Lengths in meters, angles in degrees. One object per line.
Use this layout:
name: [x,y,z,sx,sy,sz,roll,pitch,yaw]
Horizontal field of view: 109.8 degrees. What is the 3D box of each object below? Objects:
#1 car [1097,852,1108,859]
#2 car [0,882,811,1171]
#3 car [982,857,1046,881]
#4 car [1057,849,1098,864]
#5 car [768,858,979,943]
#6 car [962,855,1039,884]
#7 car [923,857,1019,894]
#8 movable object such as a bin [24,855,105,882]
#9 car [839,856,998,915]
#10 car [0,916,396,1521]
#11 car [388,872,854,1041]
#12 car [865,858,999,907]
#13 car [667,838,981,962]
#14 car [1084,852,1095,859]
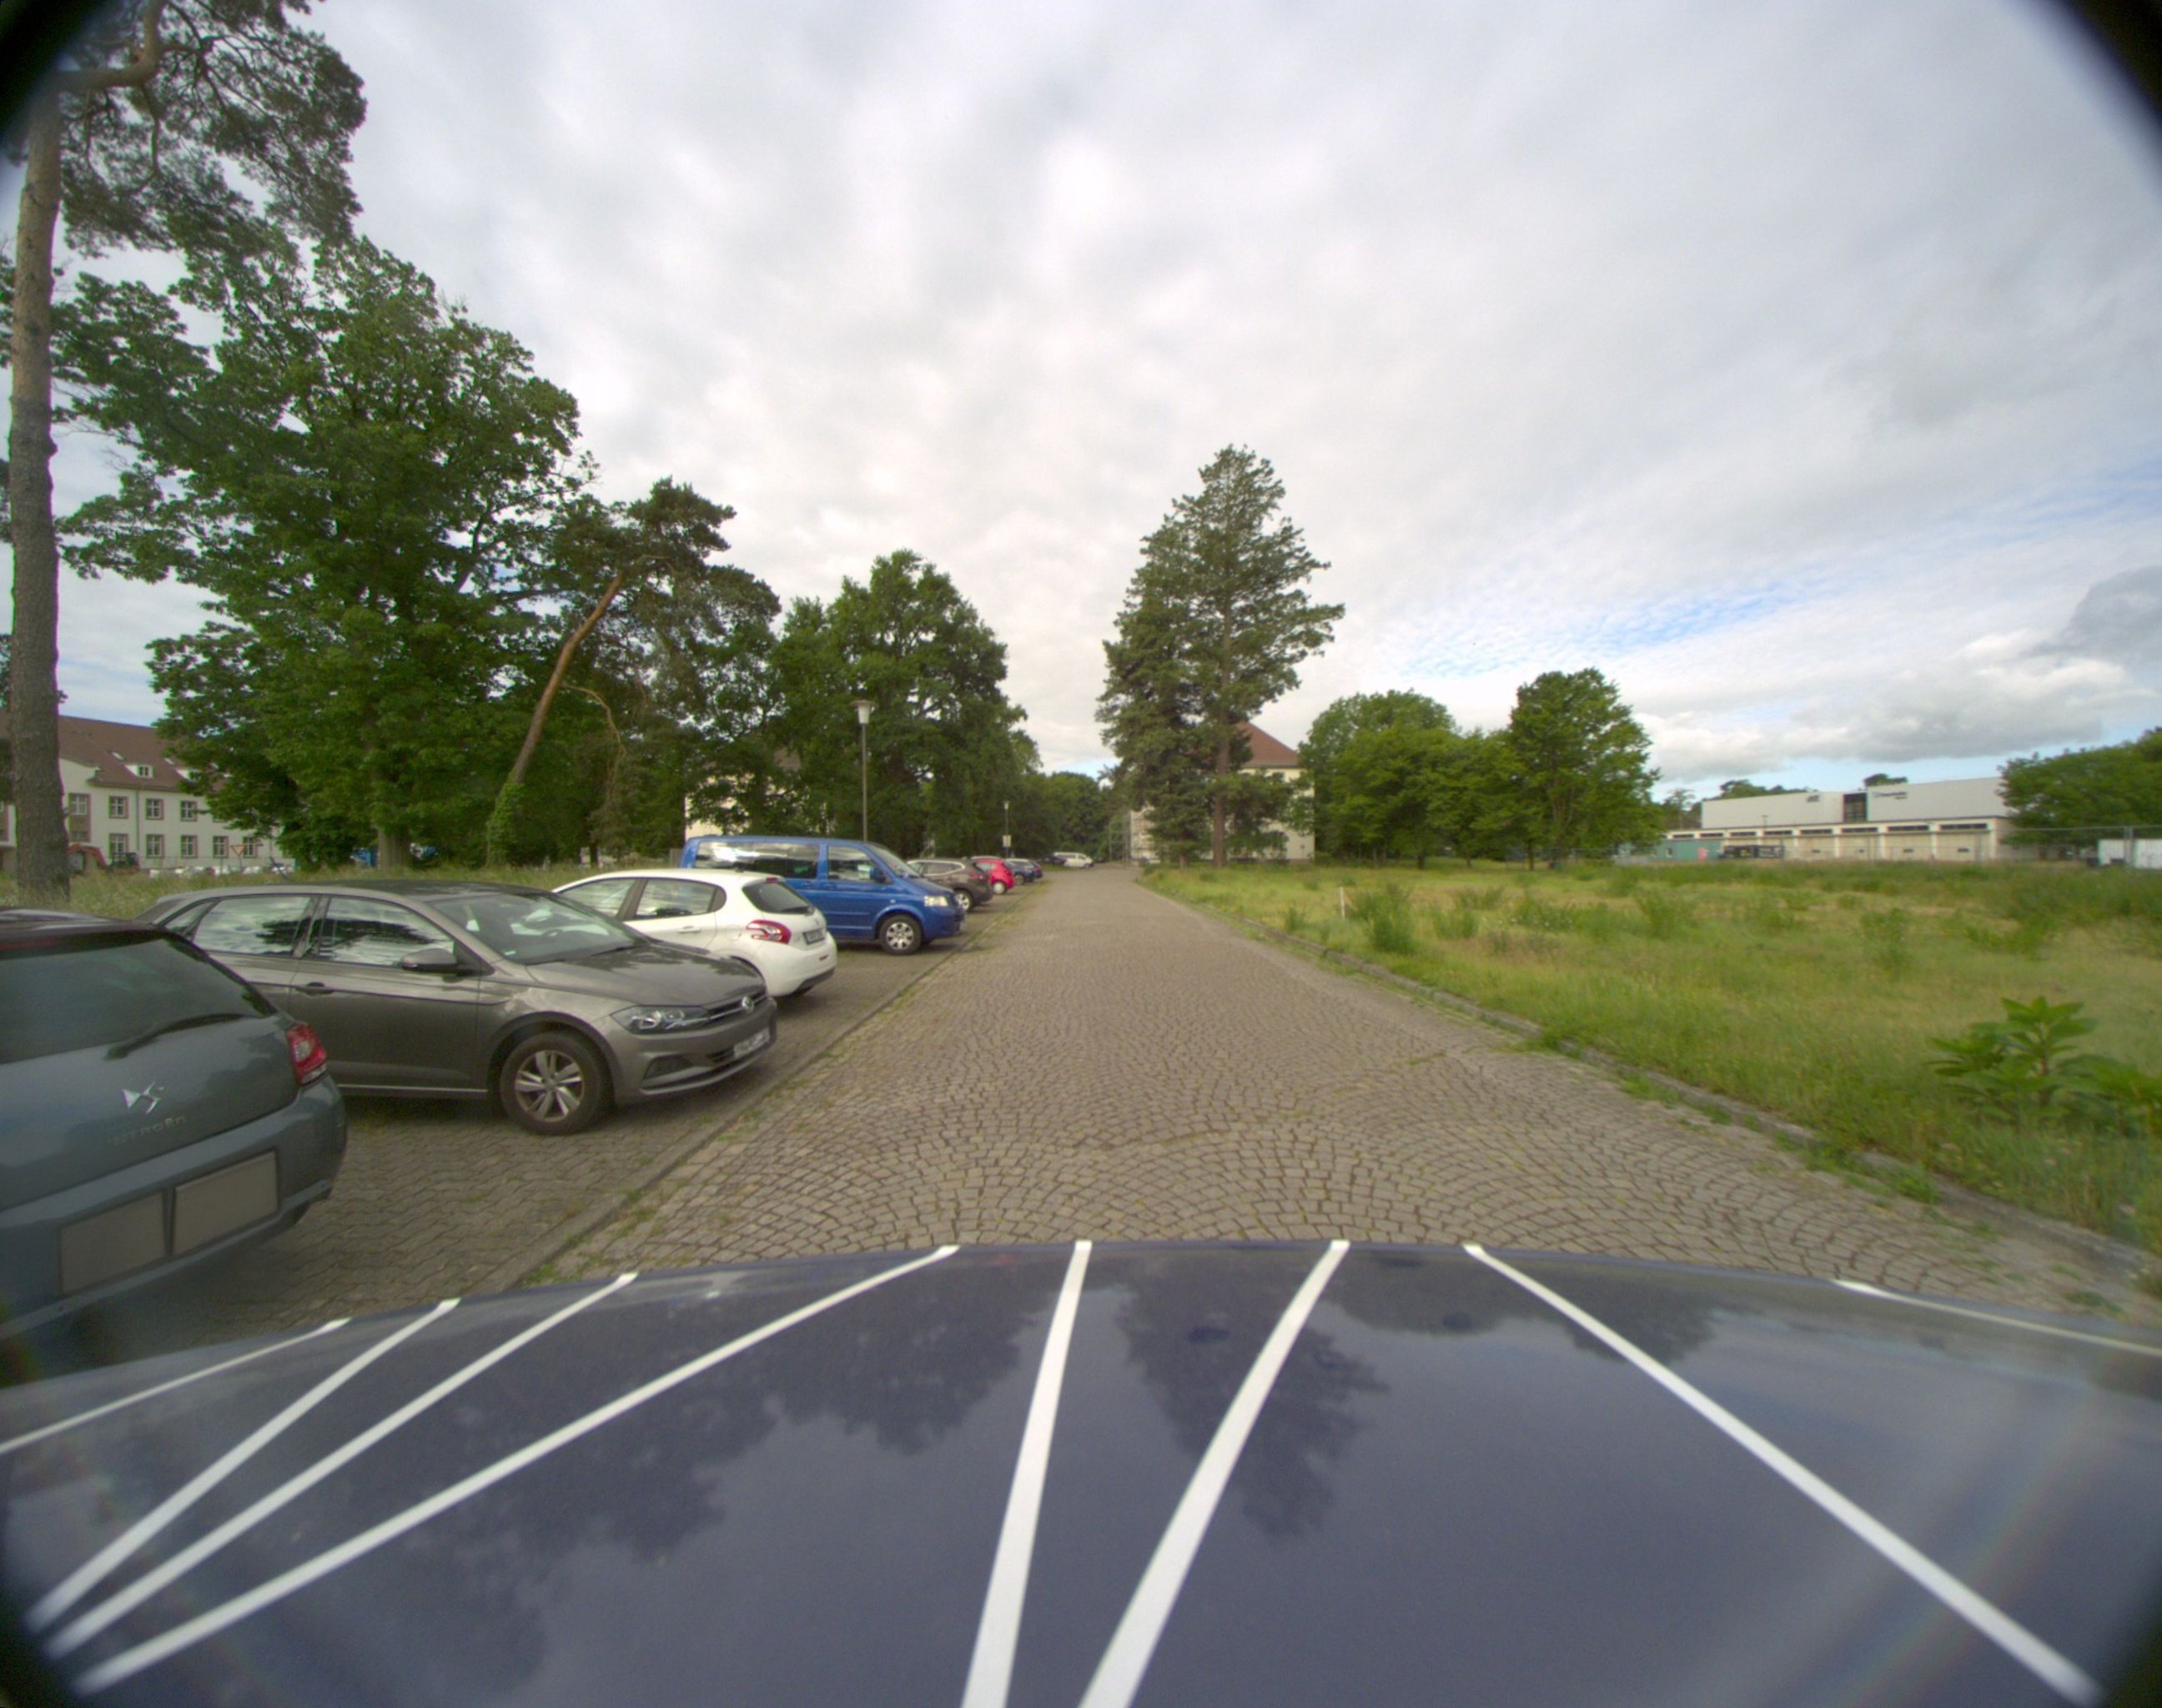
car: [4.695,0.304,163.170,1.870,1.408,4.694,1,0,-4]
car: [-4.074,0.993,5.089,3.872,1.463,1.758,1,0,0]
car: [-4.139,0.907,47.397,3.878,1.417,1.582,1,0,-1]
car: [-0.449,0.318,96.202,5.141,1.860,1.723,1,0,-1]
car: [-4.226,0.920,15.948,3.872,1.463,1.841,3,0,-1]
car: [-4.489,0.846,42.736,4.150,1.529,1.582,1,0,-1]
car: [-4.643,0.902,32.495,3.895,1.451,1.582,1,0,-1]
movable object such as a bin: [-77.259,1.080,57.796,1.679,2.002,3.245,0,0,8]
car: [-4.649,0.878,22.218,4.271,1.589,1.822,1,0,-1]
car: [-4.762,0.977,2.221,3.872,1.463,1.758,1,0,-1]
car: [-4.636,0.988,8.075,3.872,1.463,1.758,1,0,1]
car: [-4.819,0.912,24.945,4.016,1.477,1.766,1,0,0]
car: [-4.310,0.752,13.383,4.820,1.934,2.003,1,0,-1]
car: [1.808,0.374,162.620,1.870,1.408,4.694,1,0,-4]
